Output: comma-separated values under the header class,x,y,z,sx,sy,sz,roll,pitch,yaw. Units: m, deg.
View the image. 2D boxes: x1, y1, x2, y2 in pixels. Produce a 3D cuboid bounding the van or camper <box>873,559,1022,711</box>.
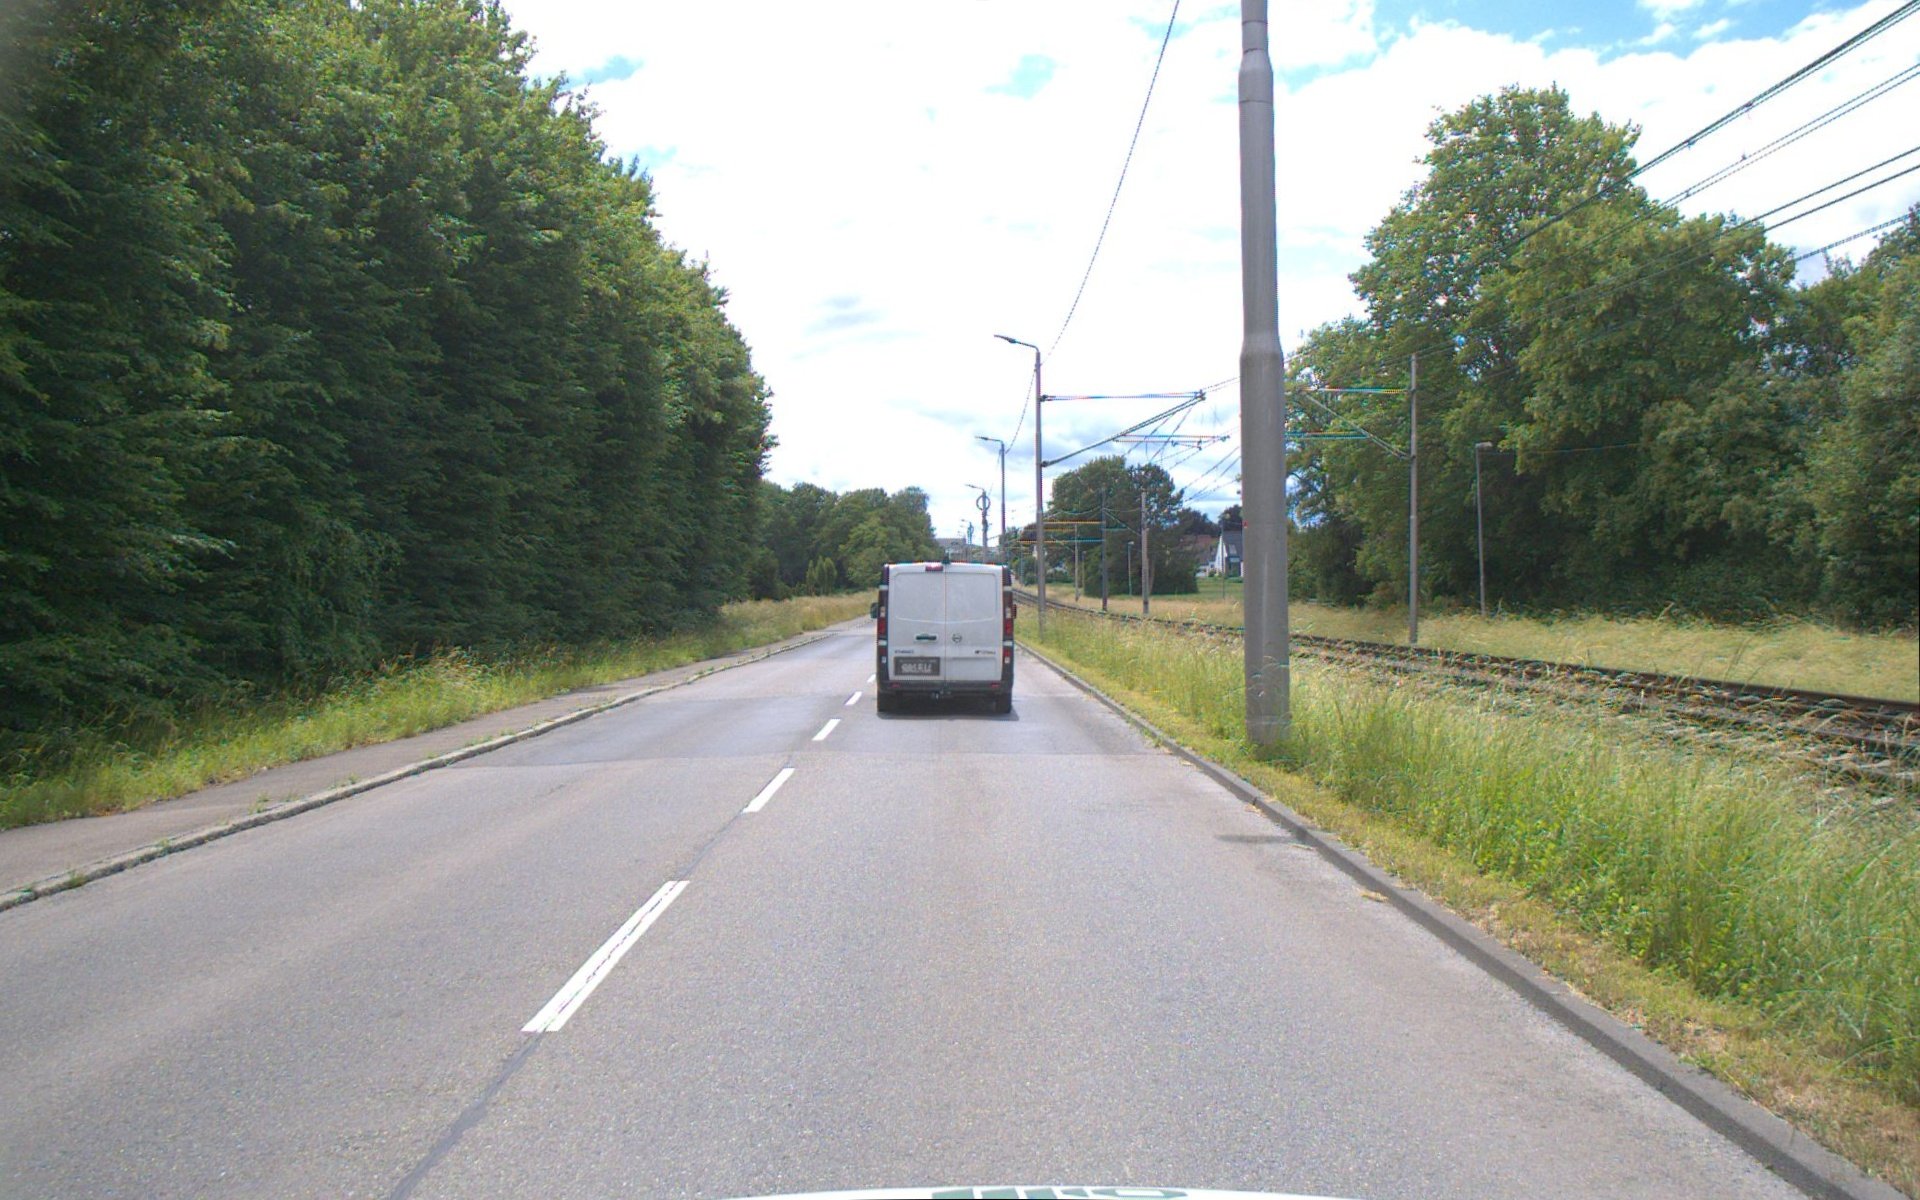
class,x,y,z,sx,sy,sz,roll,pitch,yaw
van or camper,-0.108,0.437,23.206,1.902,1.930,4.285,0,0,1
